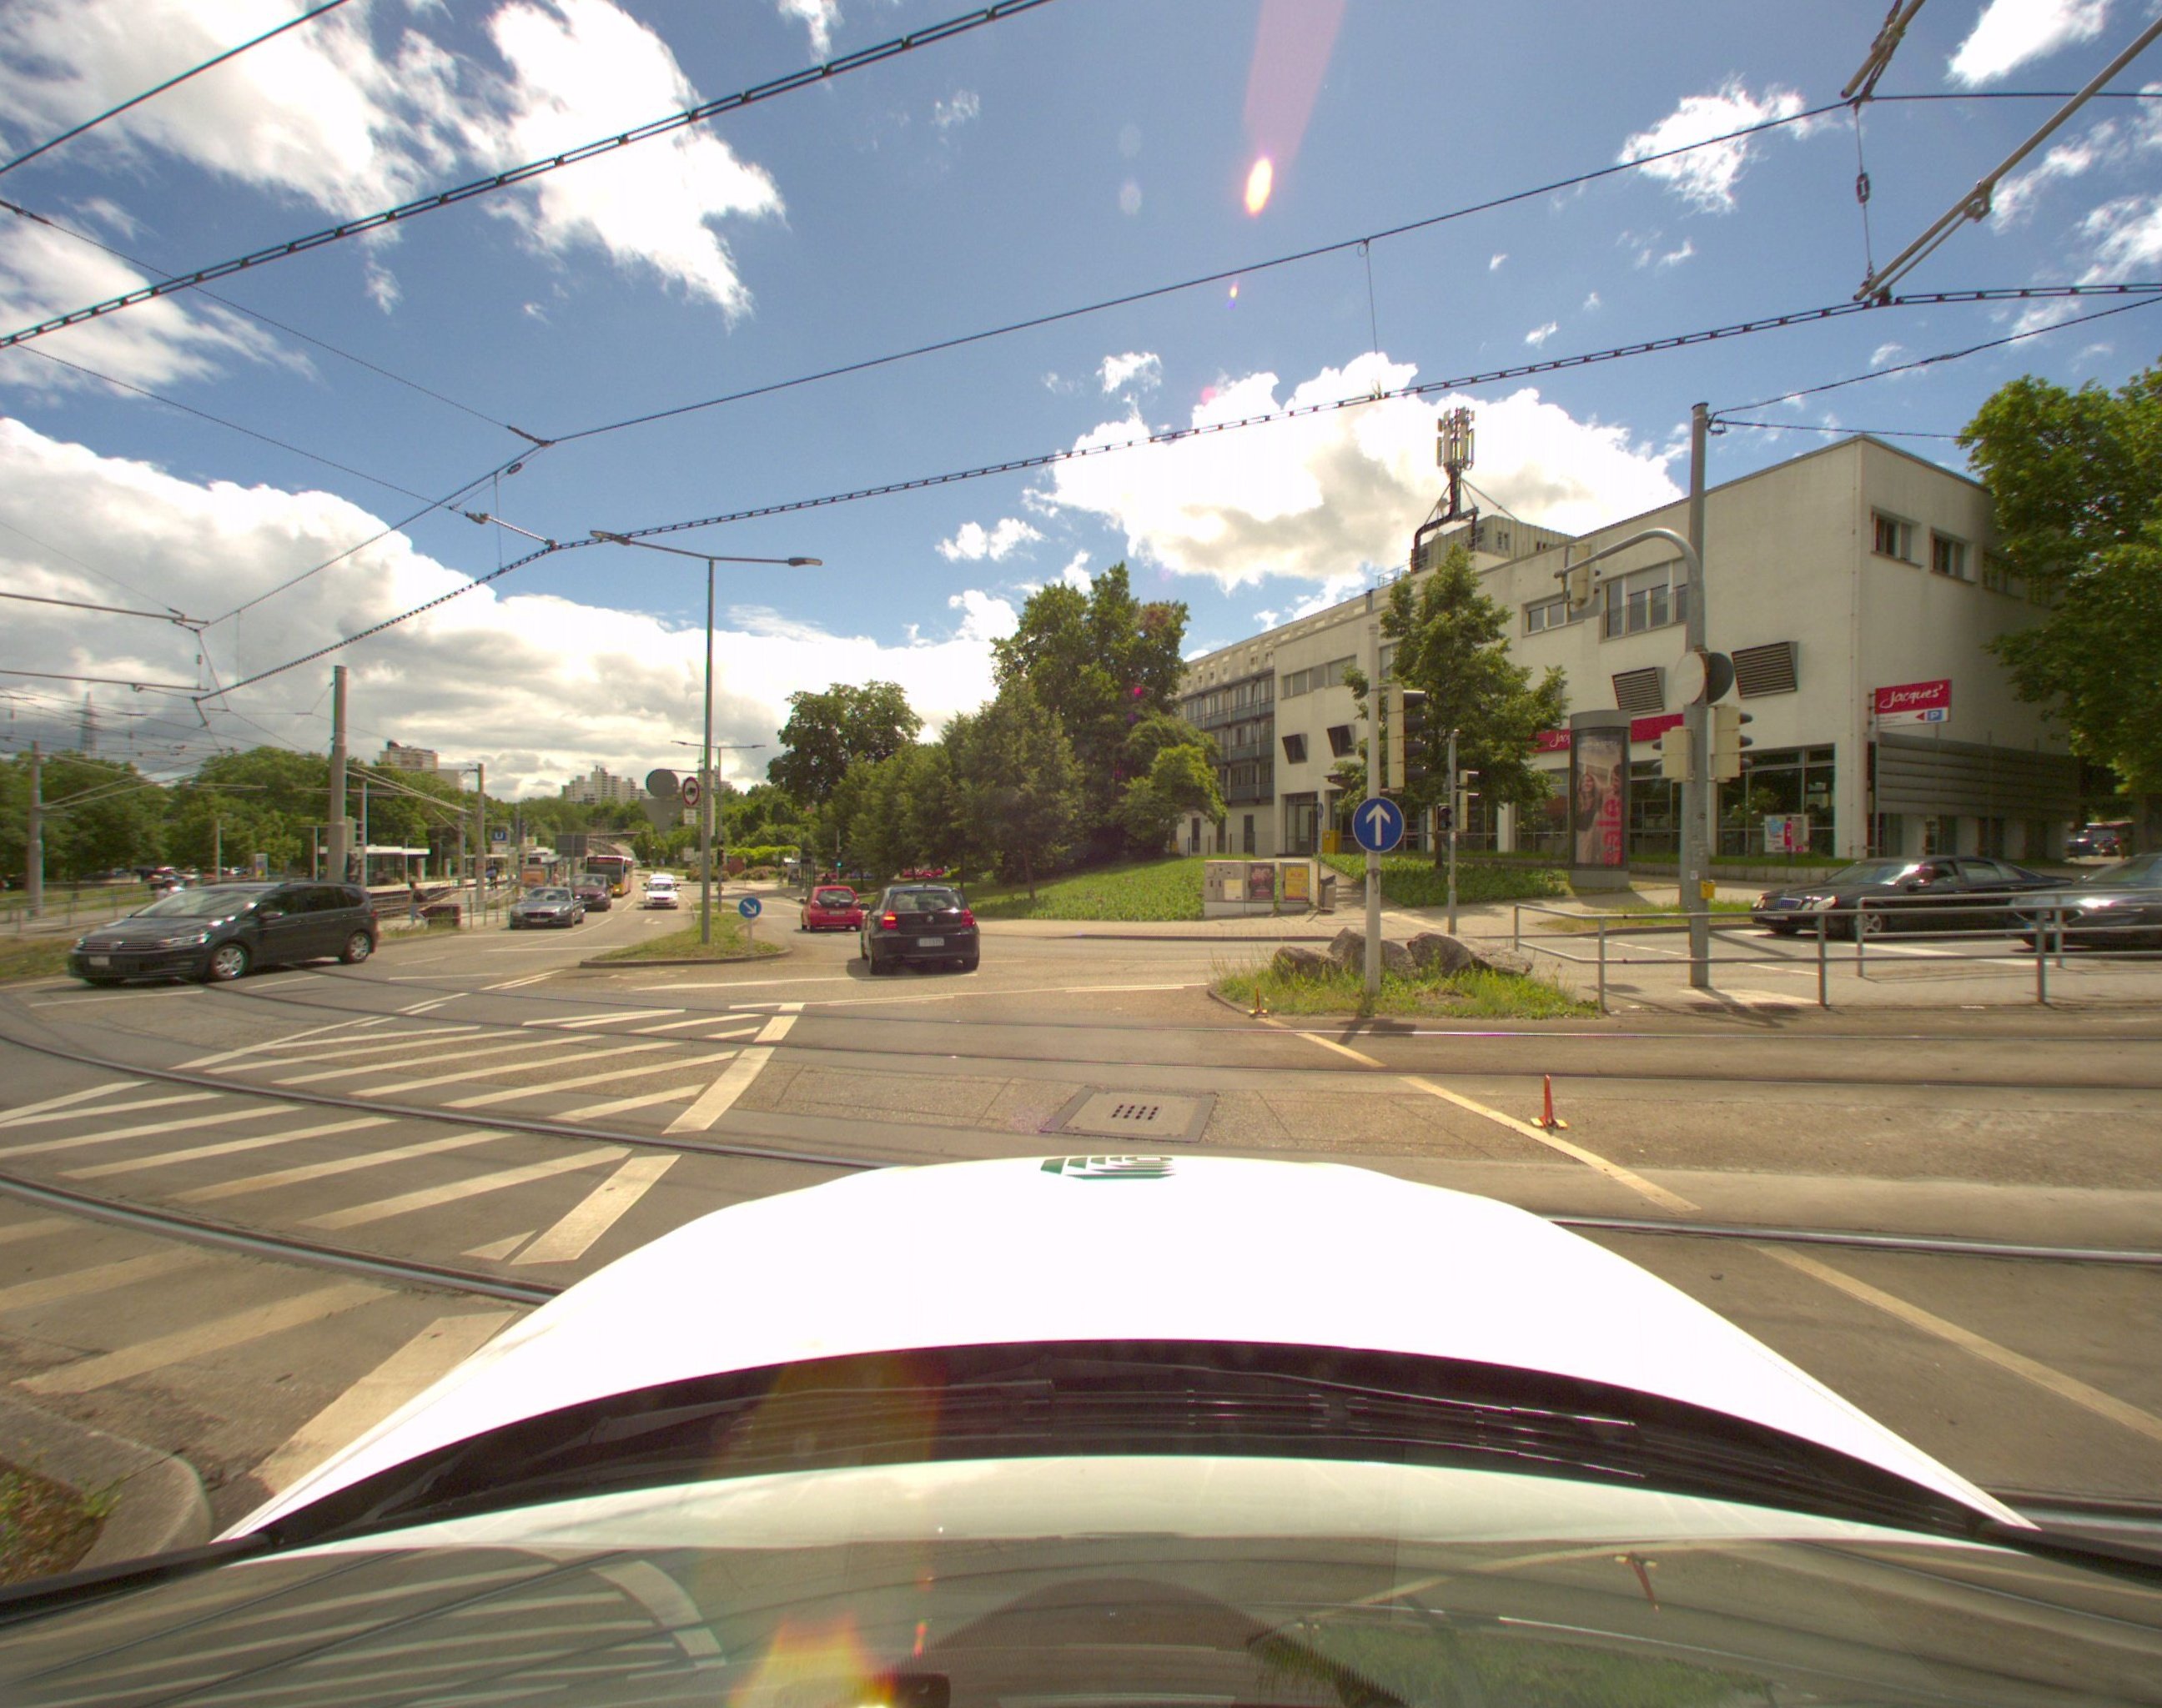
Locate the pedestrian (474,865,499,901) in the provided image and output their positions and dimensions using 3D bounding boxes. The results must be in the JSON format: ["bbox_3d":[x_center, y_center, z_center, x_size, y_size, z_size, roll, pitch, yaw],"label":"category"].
[{"bbox_3d":[-33.500,1.633,45.906,0.976,2.014,1.020,-1,-1,-25],"label":"pedestrian"}]

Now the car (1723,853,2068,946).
[{"bbox_3d":[14.546,0.771,14.738,4.300,1.465,2.051,-1,-1,-3],"label":"car"}]

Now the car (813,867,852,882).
[{"bbox_3d":[-30.059,2.492,98.463,4.185,1.561,1.980,-1,2,-33],"label":"car"}]

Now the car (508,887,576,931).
[{"bbox_3d":[-19.568,1.936,29.729,1.809,1.410,5.002,0,-2,-31],"label":"car"}]

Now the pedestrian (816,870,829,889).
[{"bbox_3d":[-19.636,1.939,61.805,0.824,1.425,0.822,0,-1,-28],"label":"pedestrian"}]

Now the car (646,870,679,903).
[{"bbox_3d":[-27.534,2.090,53.517,1.773,1.662,4.464,-1,4,-30],"label":"car"}]

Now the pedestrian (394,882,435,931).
[{"bbox_3d":[-23.107,1.810,28.246,0.865,1.636,0.913,-1,-1,-24],"label":"pedestrian"}]

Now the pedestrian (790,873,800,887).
[{"bbox_3d":[-27.232,2.482,77.618,0.831,1.259,0.680,0,0,-25],"label":"pedestrian"}]

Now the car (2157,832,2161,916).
[{"bbox_3d":[23.094,0.392,15.058,3.978,1.642,1.998,0,0,-3],"label":"car"}]

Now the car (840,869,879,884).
[{"bbox_3d":[-24.793,2.509,91.243,3.818,1.456,1.878,-2,2,-31],"label":"car"}]

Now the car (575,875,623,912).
[{"bbox_3d":[-24.934,2.017,42.230,2.006,1.822,5.023,1,-2,-30],"label":"car"}]

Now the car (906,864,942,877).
[{"bbox_3d":[-20.203,2.073,104.629,4.107,1.502,1.981,-2,2,-30],"label":"car"}]

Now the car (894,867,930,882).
[{"bbox_3d":[-19.555,2.373,94.340,3.710,1.643,1.812,0,1,-31],"label":"car"}]

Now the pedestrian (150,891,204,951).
[{"bbox_3d":[-29.040,2.145,26.185,0.911,1.822,0.766,-1,-1,-24],"label":"pedestrian"}]

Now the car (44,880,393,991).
[{"bbox_3d":[-14.770,1.287,14.405,1.802,1.580,4.289,-1,-1,-5],"label":"car"}]

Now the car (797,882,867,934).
[{"bbox_3d":[-8.149,1.683,26.479,1.773,1.432,3.451,-1,0,-24],"label":"car"}]

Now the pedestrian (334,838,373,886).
[{"bbox_3d":[-24.945,0.275,27.924,0.634,1.596,0.840,-2,-2,35],"label":"pedestrian"}]

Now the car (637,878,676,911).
[{"bbox_3d":[-23.222,2.147,44.497,1.710,1.649,4.039,1,-1,-30],"label":"car"}]

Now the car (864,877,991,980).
[{"bbox_3d":[-2.805,1.163,14.183,1.819,1.421,3.978,-1,-1,-16],"label":"car"}]

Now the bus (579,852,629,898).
[{"bbox_3d":[-36.048,1.468,61.812,2.741,3.109,9.618,0,1,-27],"label":"bus"}]

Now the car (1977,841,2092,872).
[{"bbox_3d":[52.787,0.106,45.138,1.630,1.646,3.959,0,1,-33],"label":"car"}]

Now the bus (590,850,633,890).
[{"bbox_3d":[-40.271,1.285,70.066,2.741,3.069,8.884,0,1,-27],"label":"bus"}]

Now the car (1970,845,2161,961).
[{"bbox_3d":[15.635,0.599,11.499,4.064,1.438,1.741,-3,-2,2],"label":"car"}]

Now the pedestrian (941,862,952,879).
[{"bbox_3d":[-14.621,1.792,88.577,0.988,1.760,0.853,-1,-1,-18],"label":"pedestrian"}]

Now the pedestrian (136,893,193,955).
[{"bbox_3d":[-28.451,2.162,25.301,0.911,1.822,0.766,-1,-1,-24],"label":"pedestrian"}]
